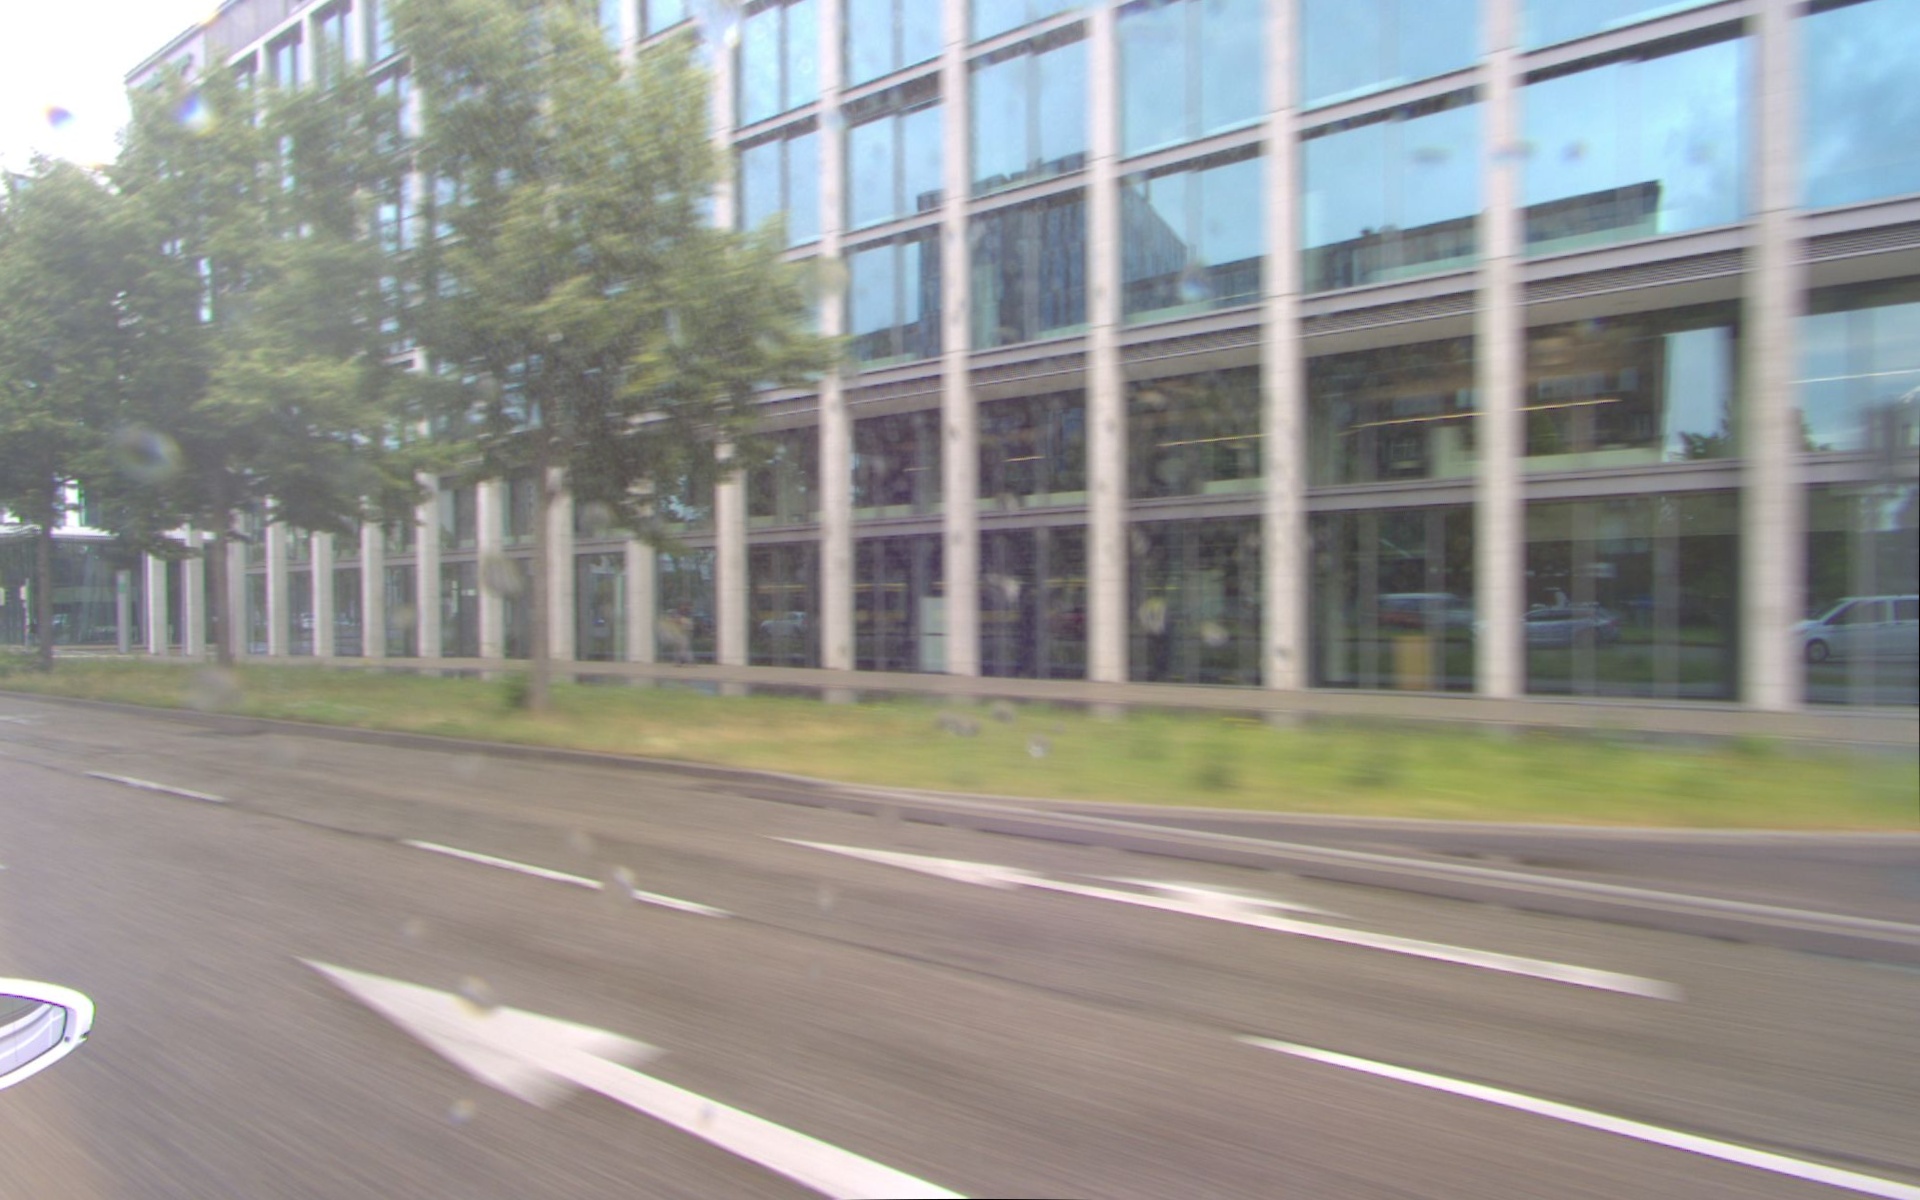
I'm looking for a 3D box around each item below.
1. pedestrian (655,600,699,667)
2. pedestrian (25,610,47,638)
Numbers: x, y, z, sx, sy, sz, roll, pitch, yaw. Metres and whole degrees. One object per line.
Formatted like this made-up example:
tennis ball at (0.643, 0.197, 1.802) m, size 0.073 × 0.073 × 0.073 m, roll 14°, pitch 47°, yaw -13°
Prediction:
pedestrian at (-7.515, 0.871, 26.633) m, size 0.848 × 1.738 × 0.715 m, roll 0°, pitch 2°, yaw 31°
pedestrian at (-57.235, 1.485, 62.025) m, size 0.770 × 1.729 × 0.678 m, roll 0°, pitch 0°, yaw -19°
